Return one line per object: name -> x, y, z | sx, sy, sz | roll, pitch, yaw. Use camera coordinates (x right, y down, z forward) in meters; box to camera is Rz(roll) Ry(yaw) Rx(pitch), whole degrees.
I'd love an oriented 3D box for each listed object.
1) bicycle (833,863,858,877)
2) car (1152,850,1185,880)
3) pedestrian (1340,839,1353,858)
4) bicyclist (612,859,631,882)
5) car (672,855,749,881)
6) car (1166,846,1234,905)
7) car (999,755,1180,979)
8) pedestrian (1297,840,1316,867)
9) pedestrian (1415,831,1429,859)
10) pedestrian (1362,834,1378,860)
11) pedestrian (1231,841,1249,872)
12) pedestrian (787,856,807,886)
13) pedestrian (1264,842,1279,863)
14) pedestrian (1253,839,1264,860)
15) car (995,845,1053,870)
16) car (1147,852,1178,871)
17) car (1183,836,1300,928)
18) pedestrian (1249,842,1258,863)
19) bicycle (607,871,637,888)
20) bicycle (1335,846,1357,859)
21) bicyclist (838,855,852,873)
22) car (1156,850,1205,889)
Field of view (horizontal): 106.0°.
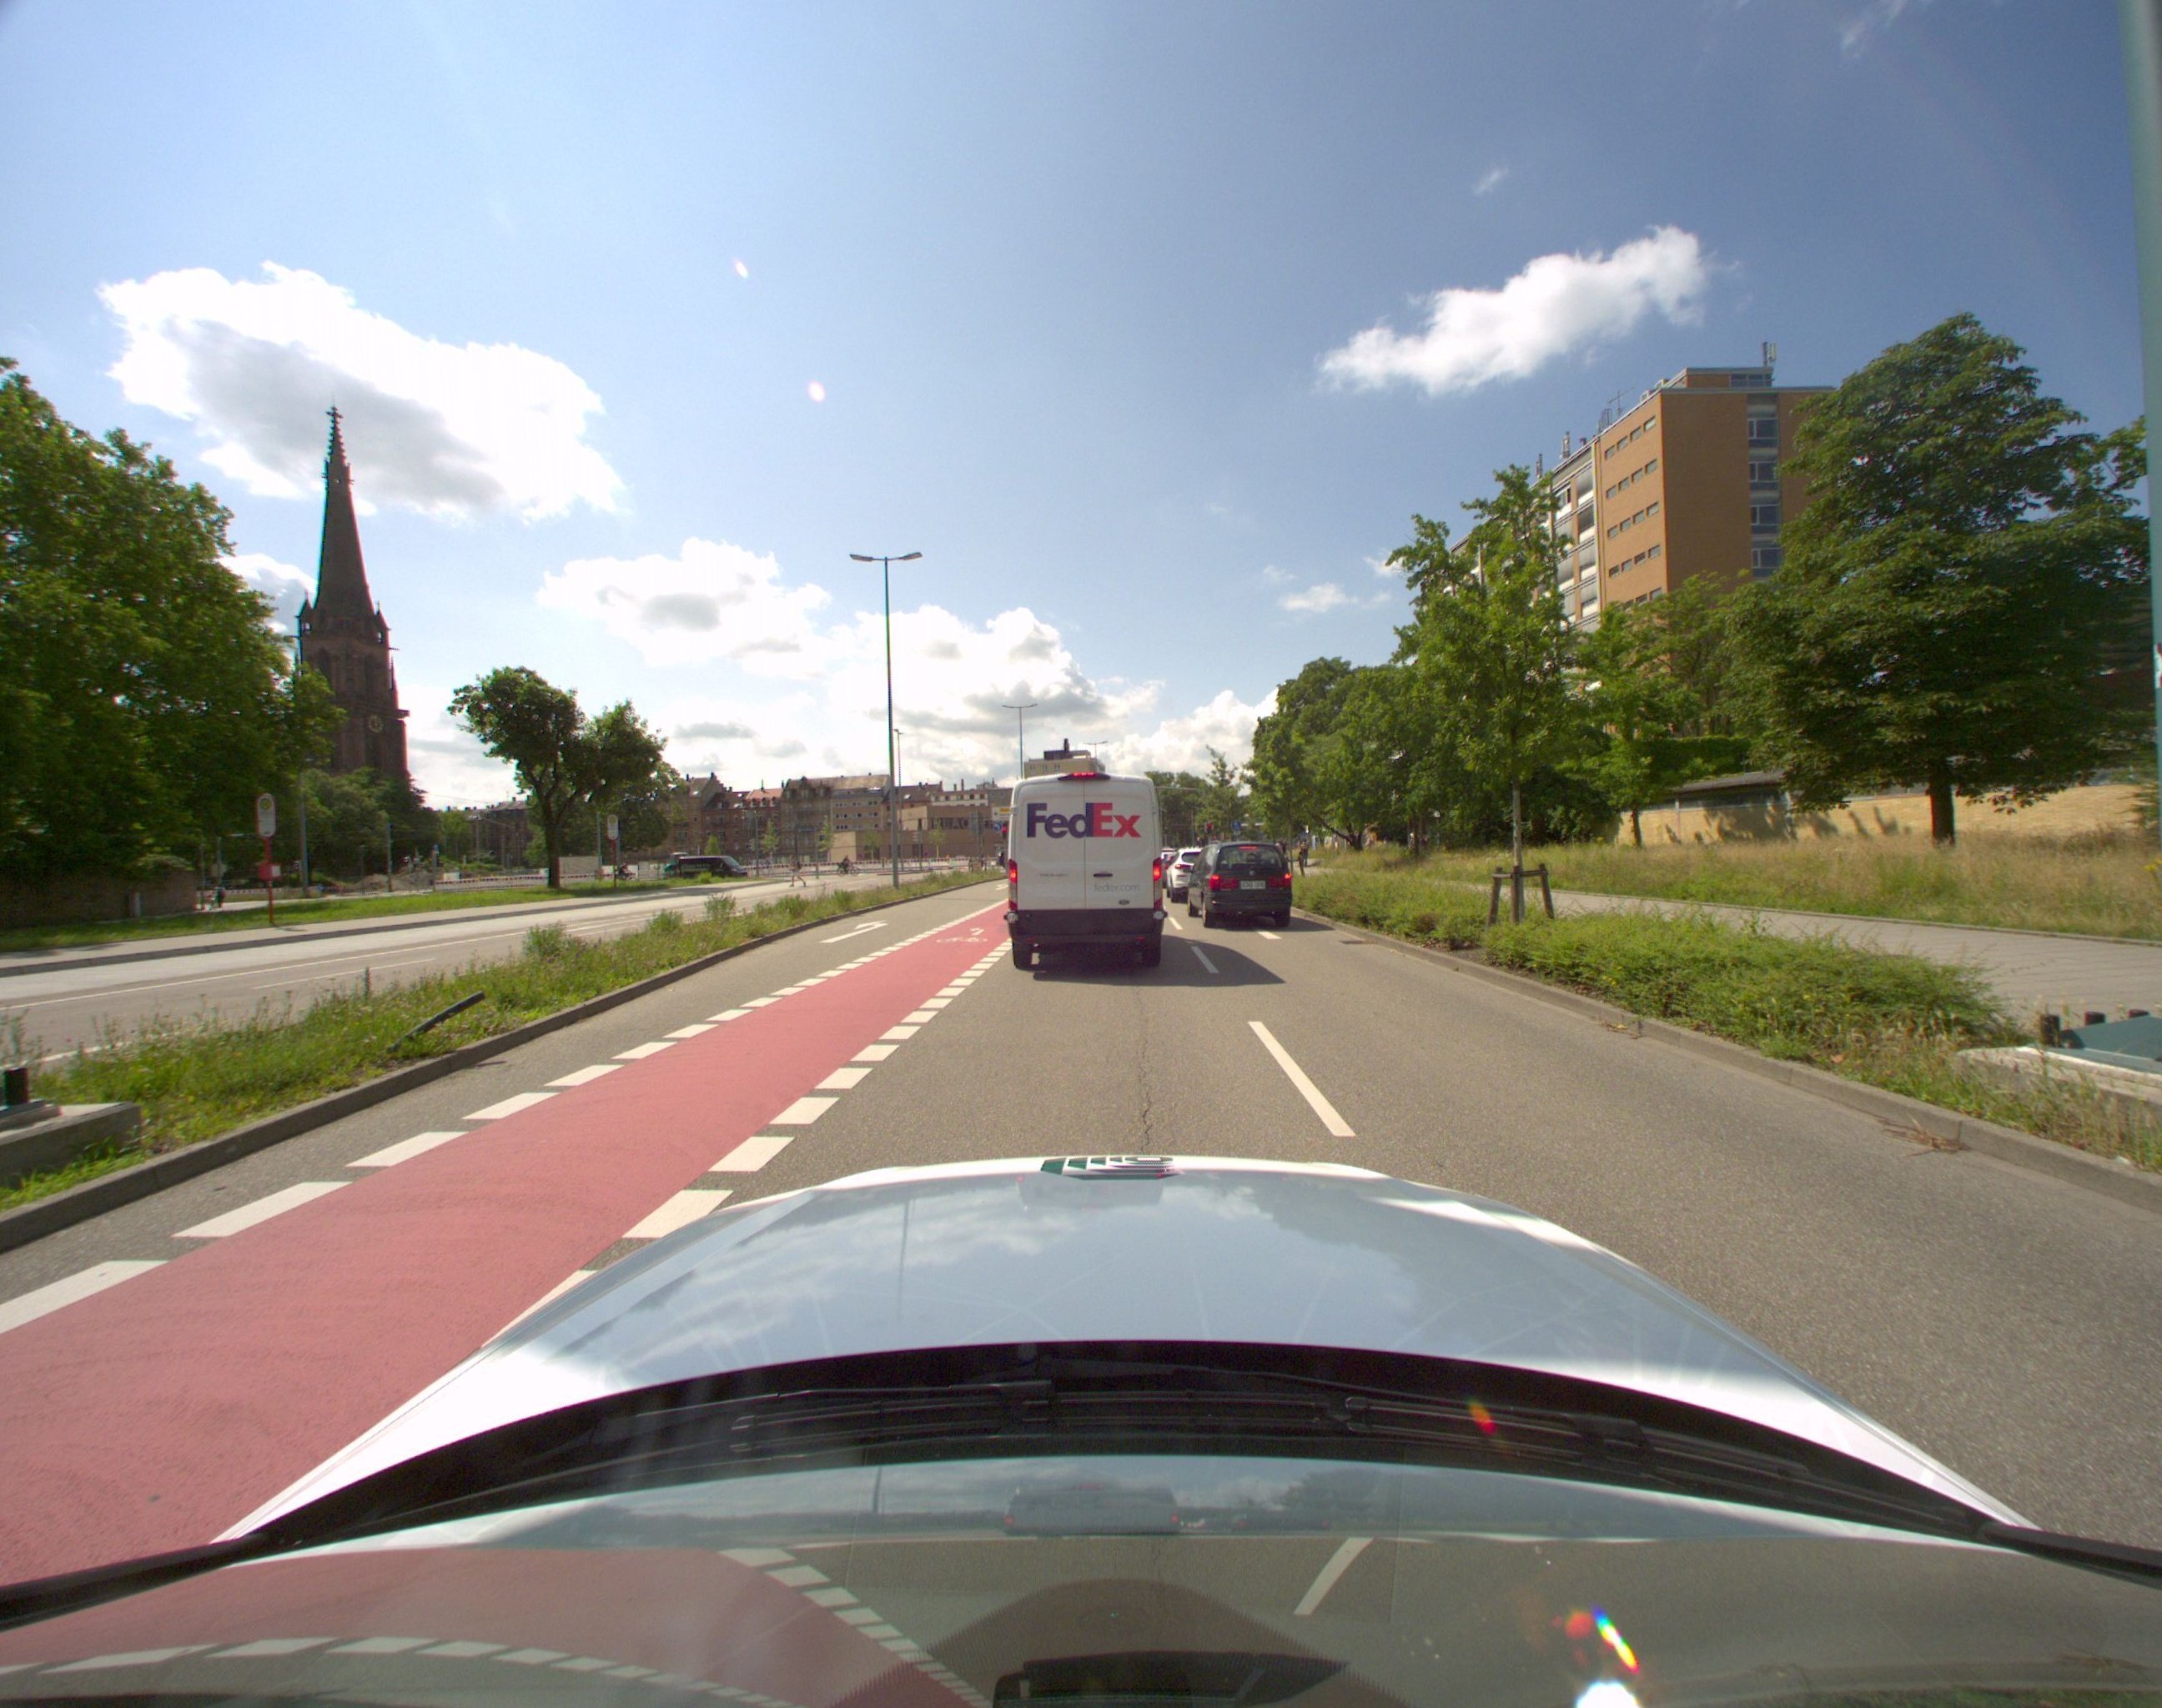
bicycle -> -19.408, 1.327, 67.100 | 1.917, 1.030, 0.547 | -2, 0, -6
car -> 4.432, 0.540, 41.482 | 1.478, 1.428, 3.436 | -2, 0, 4
pedestrian -> 20.834, -0.437, 63.827 | 0.891, 1.472, 0.488 | -2, 0, 21
bicyclist -> -37.397, 1.324, 66.298 | 1.117, 1.844, 0.592 | -2, 0, -6
car -> -29.030, 1.084, 63.921 | 4.995, 1.879, 1.928 | -2, 1, -2
car -> 3.708, 0.604, 25.927 | 1.790, 1.687, 4.004 | -2, 0, 4
car -> 0.009, 0.146, 12.652 | 2.135, 2.652, 5.699 | -1, 0, -2
pedestrian -> 13.169, -0.057, 47.554 | 0.842, 1.539, 0.835 | -2, 0, 1
pedestrian -> 26.175, -0.688, 62.464 | 0.837, 2.058, 0.745 | -2, 0, 30
pedestrian -> 22.954, -0.562, 64.699 | 0.739, 2.058, 0.843 | -2, 0, -15
pedestrian -> 9.955, 0.137, 51.024 | 0.947, 1.892, 0.774 | -2, 0, 1
pedestrian -> -15.459, 0.912, 44.330 | 0.881, 1.560, 0.548 | -2, 0, -44
pedestrian -> 12.723, -0.107, 54.438 | 0.842, 1.389, 0.741 | -2, 0, 1
pedestrian -> 16.684, -0.428, 76.571 | 0.579, 1.892, 0.671 | -2, 0, -44
car -> -4.973, 0.279, 70.843 | 4.637, 2.014, 2.089 | -2, -1, -15
car -> 8.274, 0.758, 82.505 | 1.977, 1.794, 4.394 | -2, 0, 20
car -> 3.369, 0.527, 17.853 | 1.805, 1.734, 4.390 | -1, 0, 2
pedestrian -> 15.529, -0.124, 73.324 | 0.572, 1.892, 0.679 | -2, 0, 1
bicycle -> -37.344, 2.049, 66.289 | 2.061, 1.290, 0.603 | -2, 0, -6
bicycle -> 20.775, -0.091, 63.860 | 1.557, 0.955, 0.488 | -2, 0, 21
bicyclist -> -19.482, 0.837, 67.116 | 0.966, 1.474, 0.550 | -2, 0, -6
car -> 4.115, 0.606, 34.206 | 1.790, 1.461, 3.842 | -2, 0, 4
